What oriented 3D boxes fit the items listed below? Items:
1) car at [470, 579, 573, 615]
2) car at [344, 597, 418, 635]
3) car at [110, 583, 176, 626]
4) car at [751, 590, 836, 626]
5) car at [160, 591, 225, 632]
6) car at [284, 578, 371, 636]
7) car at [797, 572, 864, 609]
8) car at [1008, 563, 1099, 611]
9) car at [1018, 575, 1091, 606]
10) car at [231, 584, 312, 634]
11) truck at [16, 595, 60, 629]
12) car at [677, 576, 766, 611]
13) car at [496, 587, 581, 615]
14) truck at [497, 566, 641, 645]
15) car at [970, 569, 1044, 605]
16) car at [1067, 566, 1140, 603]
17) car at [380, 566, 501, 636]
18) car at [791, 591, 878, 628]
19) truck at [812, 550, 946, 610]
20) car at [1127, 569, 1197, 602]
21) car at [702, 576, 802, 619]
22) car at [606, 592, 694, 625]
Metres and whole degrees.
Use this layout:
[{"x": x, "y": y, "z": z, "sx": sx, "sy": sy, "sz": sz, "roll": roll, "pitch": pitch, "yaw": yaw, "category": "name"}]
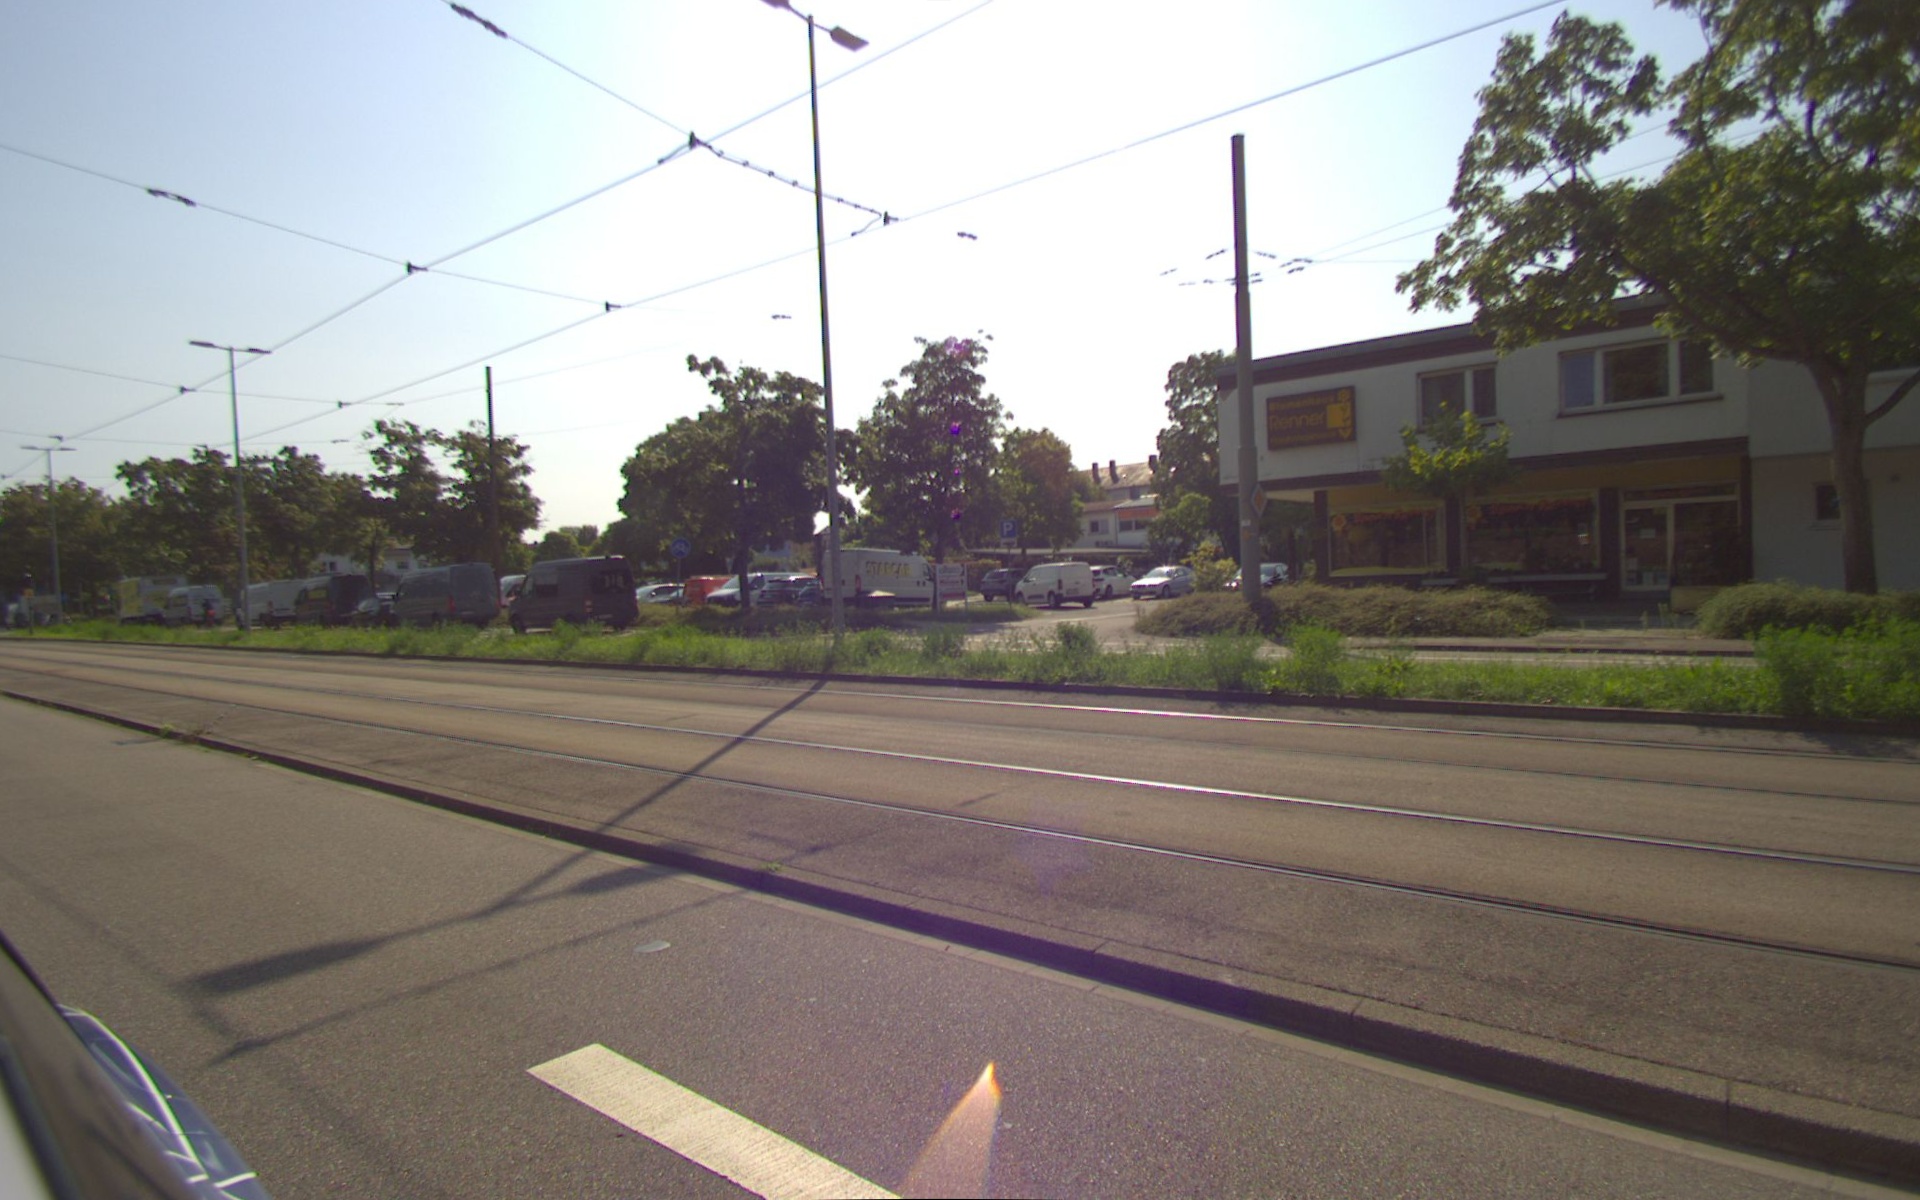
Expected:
[{"x": -25.365, "y": -0.205, "z": 58.687, "sx": 2.050, "sy": 1.940, "sz": 5.136, "roll": -1, "pitch": 0, "yaw": 37, "category": "car"}, {"x": -26.276, "y": 0.721, "z": 45.867, "sx": 3.832, "sy": 1.563, "sz": 1.726, "roll": -1, "pitch": 2, "yaw": 42, "category": "car"}, {"x": -56.121, "y": 0.320, "z": 69.458, "sx": 7.224, "sy": 2.826, "sz": 2.103, "roll": -1, "pitch": 0, "yaw": 40, "category": "car"}, {"x": -7.097, "y": 0.340, "z": 43.349, "sx": 1.631, "sy": 1.437, "sz": 3.372, "roll": -1, "pitch": 0, "yaw": 38, "category": "car"}, {"x": -48.423, "y": 0.707, "z": 63.828, "sx": 4.825, "sy": 2.477, "sz": 2.122, "roll": -1, "pitch": 0, "yaw": 38, "category": "car"}, {"x": -31.043, "y": 0.378, "z": 49.572, "sx": 5.905, "sy": 2.605, "sz": 1.804, "roll": -2, "pitch": 2, "yaw": 40, "category": "car"}, {"x": -7.929, "y": -0.613, "z": 62.413, "sx": 1.800, "sy": 2.113, "sz": 3.951, "roll": -1, "pitch": 2, "yaw": 37, "category": "car"}, {"x": 3.780, "y": -0.500, "z": 41.726, "sx": 1.956, "sy": 1.771, "sz": 4.434, "roll": -3, "pitch": 1, "yaw": -20, "category": "car"}, {"x": 4.629, "y": -0.457, "z": 49.428, "sx": 3.663, "sy": 1.353, "sz": 1.492, "roll": -3, "pitch": 1, "yaw": -44, "category": "car"}, {"x": -37.310, "y": 0.496, "z": 54.793, "sx": 5.626, "sy": 2.605, "sz": 2.111, "roll": -1, "pitch": 0, "yaw": 40, "category": "car"}, {"x": -88.924, "y": 1.192, "z": 97.559, "sx": 8.784, "sy": 3.145, "sz": 2.249, "roll": -1, "pitch": 0, "yaw": 42, "category": "truck"}, {"x": -11.064, "y": -0.308, "z": 47.101, "sx": 1.631, "sy": 1.530, "sz": 3.886, "roll": -1, "pitch": 0, "yaw": 38, "category": "car"}, {"x": -23.462, "y": 0.055, "z": 56.442, "sx": 1.855, "sy": 1.462, "sz": 3.948, "roll": -1, "pitch": 0, "yaw": 39, "category": "car"}, {"x": -13.758, "y": 0.197, "z": 35.411, "sx": 5.732, "sy": 2.567, "sz": 2.061, "roll": -1, "pitch": 0, "yaw": 39, "category": "truck"}, {"x": 2.429, "y": -0.686, "z": 52.000, "sx": 1.759, "sy": 1.782, "sz": 3.760, "roll": -1, "pitch": 0, "yaw": 44, "category": "car"}, {"x": 6.867, "y": -0.739, "z": 48.347, "sx": 1.875, "sy": 1.513, "sz": 3.413, "roll": -1, "pitch": 3, "yaw": 40, "category": "car"}, {"x": -21.454, "y": 0.059, "z": 41.645, "sx": 6.462, "sy": 2.605, "sz": 1.968, "roll": -1, "pitch": 3, "yaw": 41, "category": "car"}, {"x": -5.136, "y": 0.373, "z": 41.680, "sx": 1.631, "sy": 1.437, "sz": 3.372, "roll": -1, "pitch": 0, "yaw": 38, "category": "car"}, {"x": -3.122, "y": -0.786, "z": 40.333, "sx": 2.256, "sy": 2.189, "sz": 5.438, "roll": -1, "pitch": 0, "yaw": 37, "category": "truck"}, {"x": 9.216, "y": -0.655, "z": 46.129, "sx": 1.491, "sy": 1.353, "sz": 3.493, "roll": -2, "pitch": 1, "yaw": 43, "category": "car"}, {"x": -9.195, "y": -0.119, "z": 45.060, "sx": 1.631, "sy": 1.798, "sz": 4.357, "roll": -1, "pitch": 0, "yaw": 37, "category": "car"}, {"x": -15.280, "y": 0.390, "z": 50.080, "sx": 1.618, "sy": 1.474, "sz": 4.129, "roll": -2, "pitch": 0, "yaw": 29, "category": "car"}]
